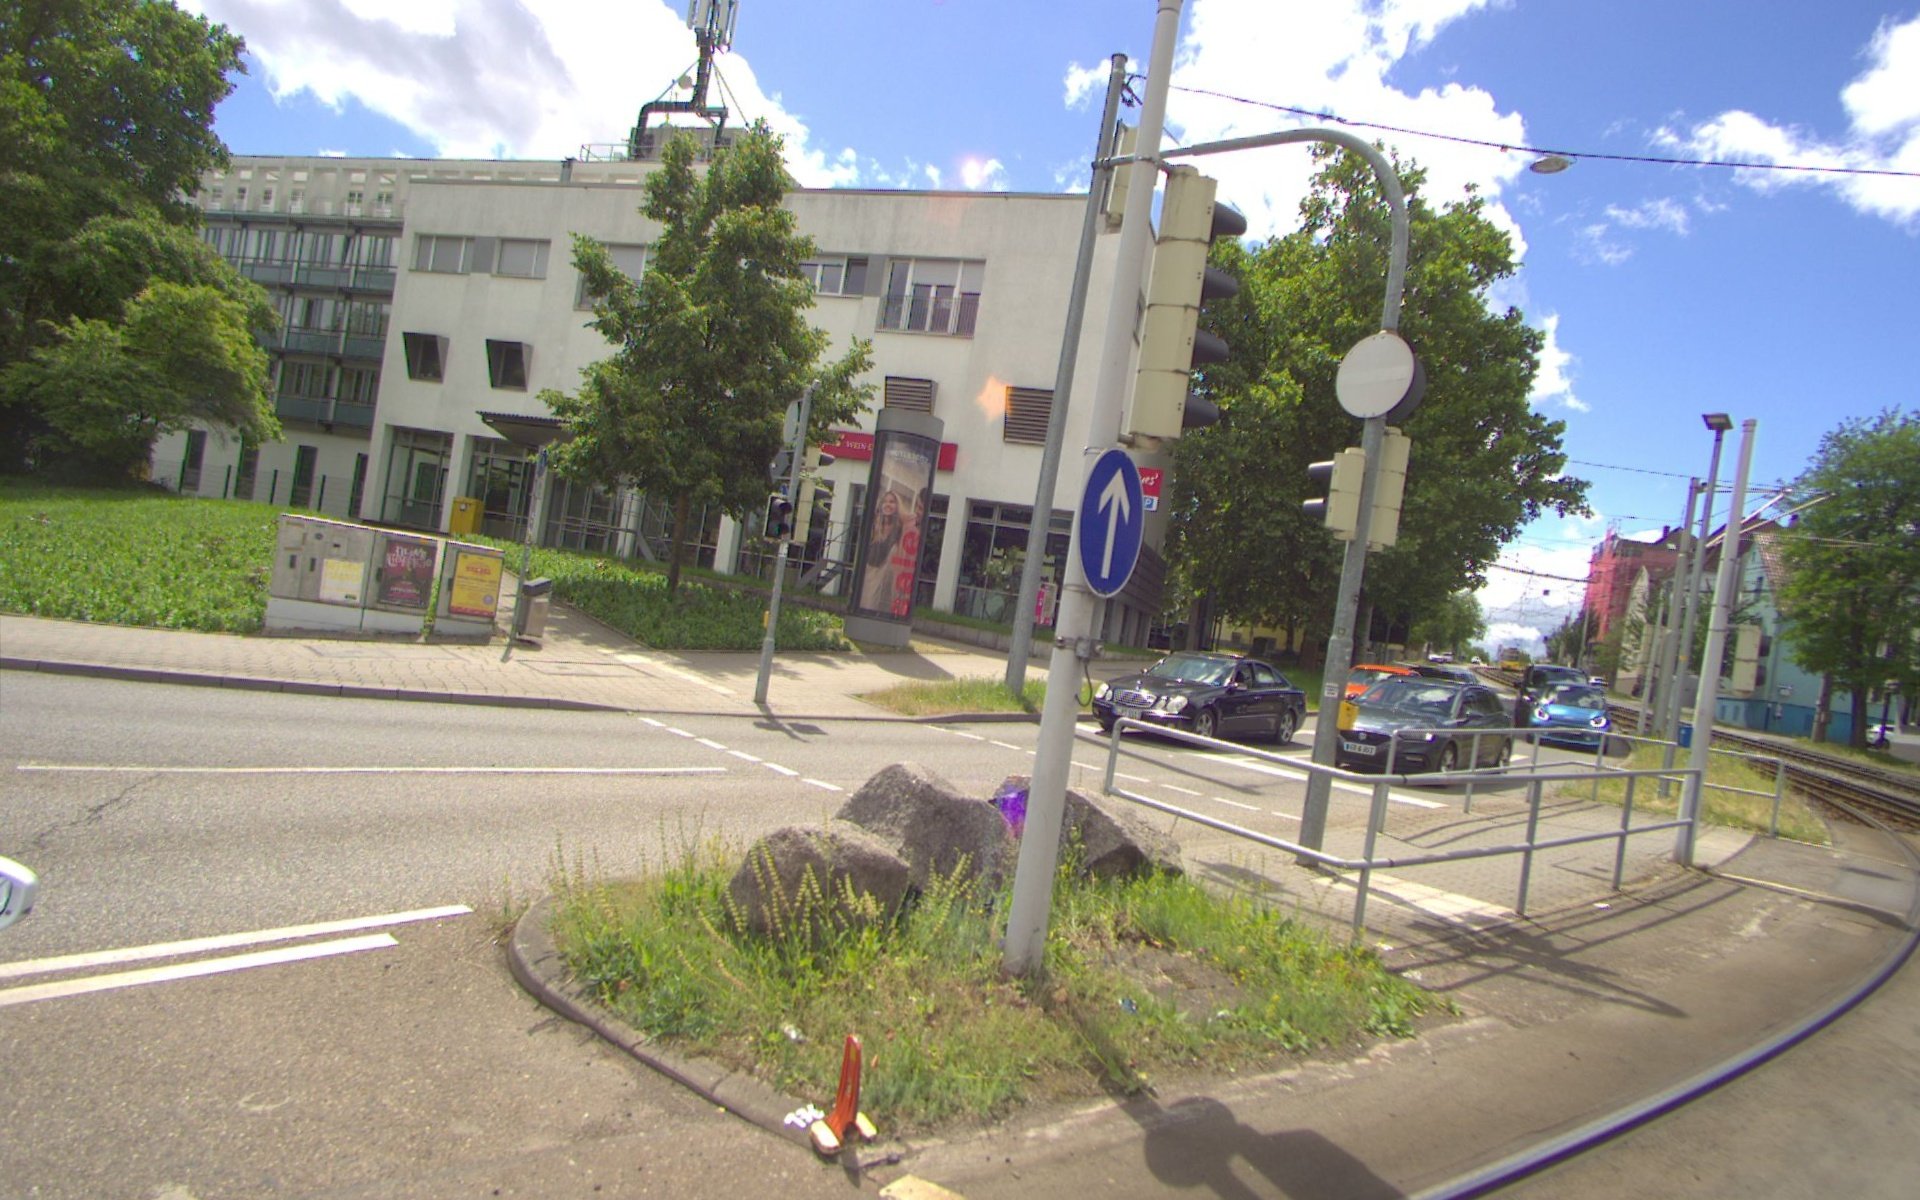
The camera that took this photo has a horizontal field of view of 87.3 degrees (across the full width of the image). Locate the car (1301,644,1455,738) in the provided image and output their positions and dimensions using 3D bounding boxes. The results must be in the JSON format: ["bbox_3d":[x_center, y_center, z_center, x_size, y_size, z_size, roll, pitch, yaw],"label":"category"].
[{"bbox_3d":[9.556,2.106,22.833,1.971,1.661,3.986,7,-2,40],"label":"car"}]

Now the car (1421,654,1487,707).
[{"bbox_3d":[18.800,3.051,38.350,1.965,1.638,3.997,7,-1,26],"label":"car"}]

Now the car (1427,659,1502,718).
[{"bbox_3d":[16.682,2.901,33.429,1.964,1.602,3.998,6,-1,25],"label":"car"}]

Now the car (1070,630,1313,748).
[{"bbox_3d":[3.923,1.498,16.534,2.024,1.482,4.306,6,-2,40],"label":"car"}]

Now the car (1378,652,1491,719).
[{"bbox_3d":[13.139,2.402,27.757,1.874,1.481,3.986,7,-1,38],"label":"car"}]

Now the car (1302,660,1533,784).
[{"bbox_3d":[6.928,1.759,15.043,4.066,1.456,1.719,5,-1,-44],"label":"car"}]

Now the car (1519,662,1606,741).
[{"bbox_3d":[17.619,2.946,29.583,1.820,1.903,4.144,7,-1,29],"label":"car"}]

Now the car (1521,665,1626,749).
[{"bbox_3d":[15.144,2.614,24.784,1.896,1.658,3.991,7,-1,33],"label":"car"}]
